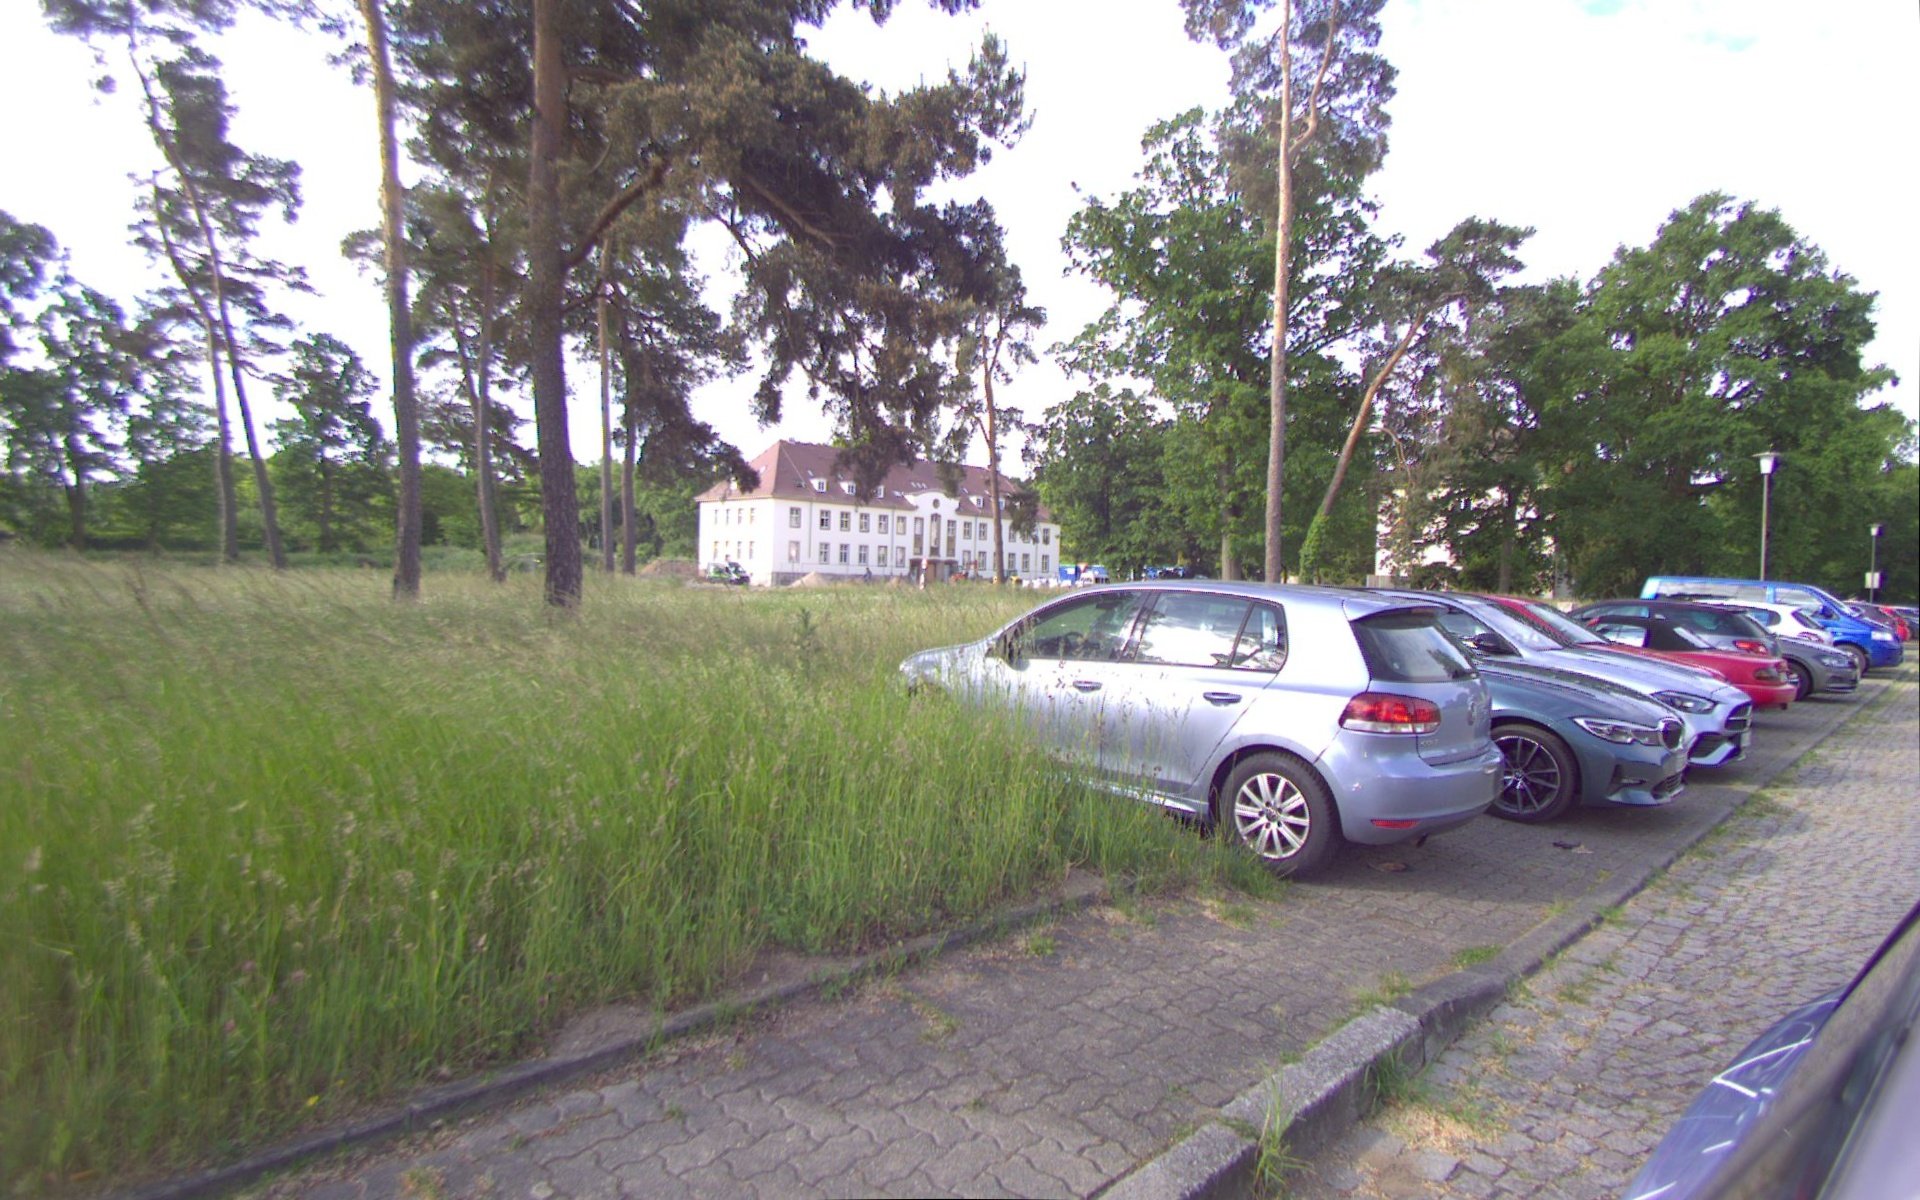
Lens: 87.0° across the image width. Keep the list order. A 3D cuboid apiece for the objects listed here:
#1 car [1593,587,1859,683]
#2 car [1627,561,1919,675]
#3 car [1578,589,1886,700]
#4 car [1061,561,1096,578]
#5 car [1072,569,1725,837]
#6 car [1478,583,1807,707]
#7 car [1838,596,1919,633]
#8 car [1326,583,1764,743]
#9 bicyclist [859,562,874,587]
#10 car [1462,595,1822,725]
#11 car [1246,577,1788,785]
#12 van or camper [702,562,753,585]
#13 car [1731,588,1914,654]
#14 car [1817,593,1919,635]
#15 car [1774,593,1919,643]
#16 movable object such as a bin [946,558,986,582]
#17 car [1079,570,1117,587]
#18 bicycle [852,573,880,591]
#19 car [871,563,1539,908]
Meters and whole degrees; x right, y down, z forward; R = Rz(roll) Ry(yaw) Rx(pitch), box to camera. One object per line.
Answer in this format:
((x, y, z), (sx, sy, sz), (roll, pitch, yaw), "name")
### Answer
((14.374, 0.586, 19.142), (1.554, 1.517, 3.759), (0, 2, -41), "car")
((18.220, 0.293, 22.740), (2.025, 2.047, 4.951), (0, 4, -42), "car")
((12.582, 0.638, 16.669), (1.614, 1.483, 3.779), (0, 2, -41), "car")
((14.817, -3.768, 126.609), (3.927, 2.038, 2.219), (0, 2, -39), "car")
((3.249, 0.561, 8.213), (4.515, 1.501, 1.779), (3, 2, 44), "car")
((10.128, 0.572, 15.223), (1.577, 1.522, 3.833), (0, 2, -43), "car")
((42.483, 0.659, 45.861), (1.643, 1.548, 3.838), (1, 2, -38), "car")
((6.656, 0.583, 11.874), (1.690, 1.440, 4.114), (0, 2, -42), "car")
((-6.661, -1.788, 72.106), (0.830, 1.756, 0.667), (0, 0, -40), "bicyclist")
((8.651, 0.677, 13.046), (1.580, 1.302, 3.552), (2, 1, -42), "car")
((5.231, 0.591, 9.963), (1.738, 1.446, 4.330), (0, 3, -44), "car")
((-24.590, -2.852, 106.768), (6.057, 2.250, 1.971), (3, 2, 40), "van or camper")
((24.331, 0.548, 28.643), (3.828, 1.621, 1.556), (3, 2, 43), "car")
((39.035, 0.576, 42.904), (1.552, 1.638, 3.838), (1, 2, -38), "car")
((31.448, 0.592, 35.931), (3.828, 1.544, 1.556), (3, 2, 43), "car")
((0.778, -3.711, 125.335), (1.992, 2.802, 5.126), (3, 2, 41), "movable object such as a bin")
((14.649, -2.306, 107.641), (3.867, 1.704, 1.847), (0, 3, -41), "car")
((-6.676, -1.283, 72.109), (1.946, 1.223, 0.638), (0, 2, -41), "bicycle")
((1.300, 0.554, 6.441), (3.844, 1.489, 1.615), (3, 2, 45), "car")
